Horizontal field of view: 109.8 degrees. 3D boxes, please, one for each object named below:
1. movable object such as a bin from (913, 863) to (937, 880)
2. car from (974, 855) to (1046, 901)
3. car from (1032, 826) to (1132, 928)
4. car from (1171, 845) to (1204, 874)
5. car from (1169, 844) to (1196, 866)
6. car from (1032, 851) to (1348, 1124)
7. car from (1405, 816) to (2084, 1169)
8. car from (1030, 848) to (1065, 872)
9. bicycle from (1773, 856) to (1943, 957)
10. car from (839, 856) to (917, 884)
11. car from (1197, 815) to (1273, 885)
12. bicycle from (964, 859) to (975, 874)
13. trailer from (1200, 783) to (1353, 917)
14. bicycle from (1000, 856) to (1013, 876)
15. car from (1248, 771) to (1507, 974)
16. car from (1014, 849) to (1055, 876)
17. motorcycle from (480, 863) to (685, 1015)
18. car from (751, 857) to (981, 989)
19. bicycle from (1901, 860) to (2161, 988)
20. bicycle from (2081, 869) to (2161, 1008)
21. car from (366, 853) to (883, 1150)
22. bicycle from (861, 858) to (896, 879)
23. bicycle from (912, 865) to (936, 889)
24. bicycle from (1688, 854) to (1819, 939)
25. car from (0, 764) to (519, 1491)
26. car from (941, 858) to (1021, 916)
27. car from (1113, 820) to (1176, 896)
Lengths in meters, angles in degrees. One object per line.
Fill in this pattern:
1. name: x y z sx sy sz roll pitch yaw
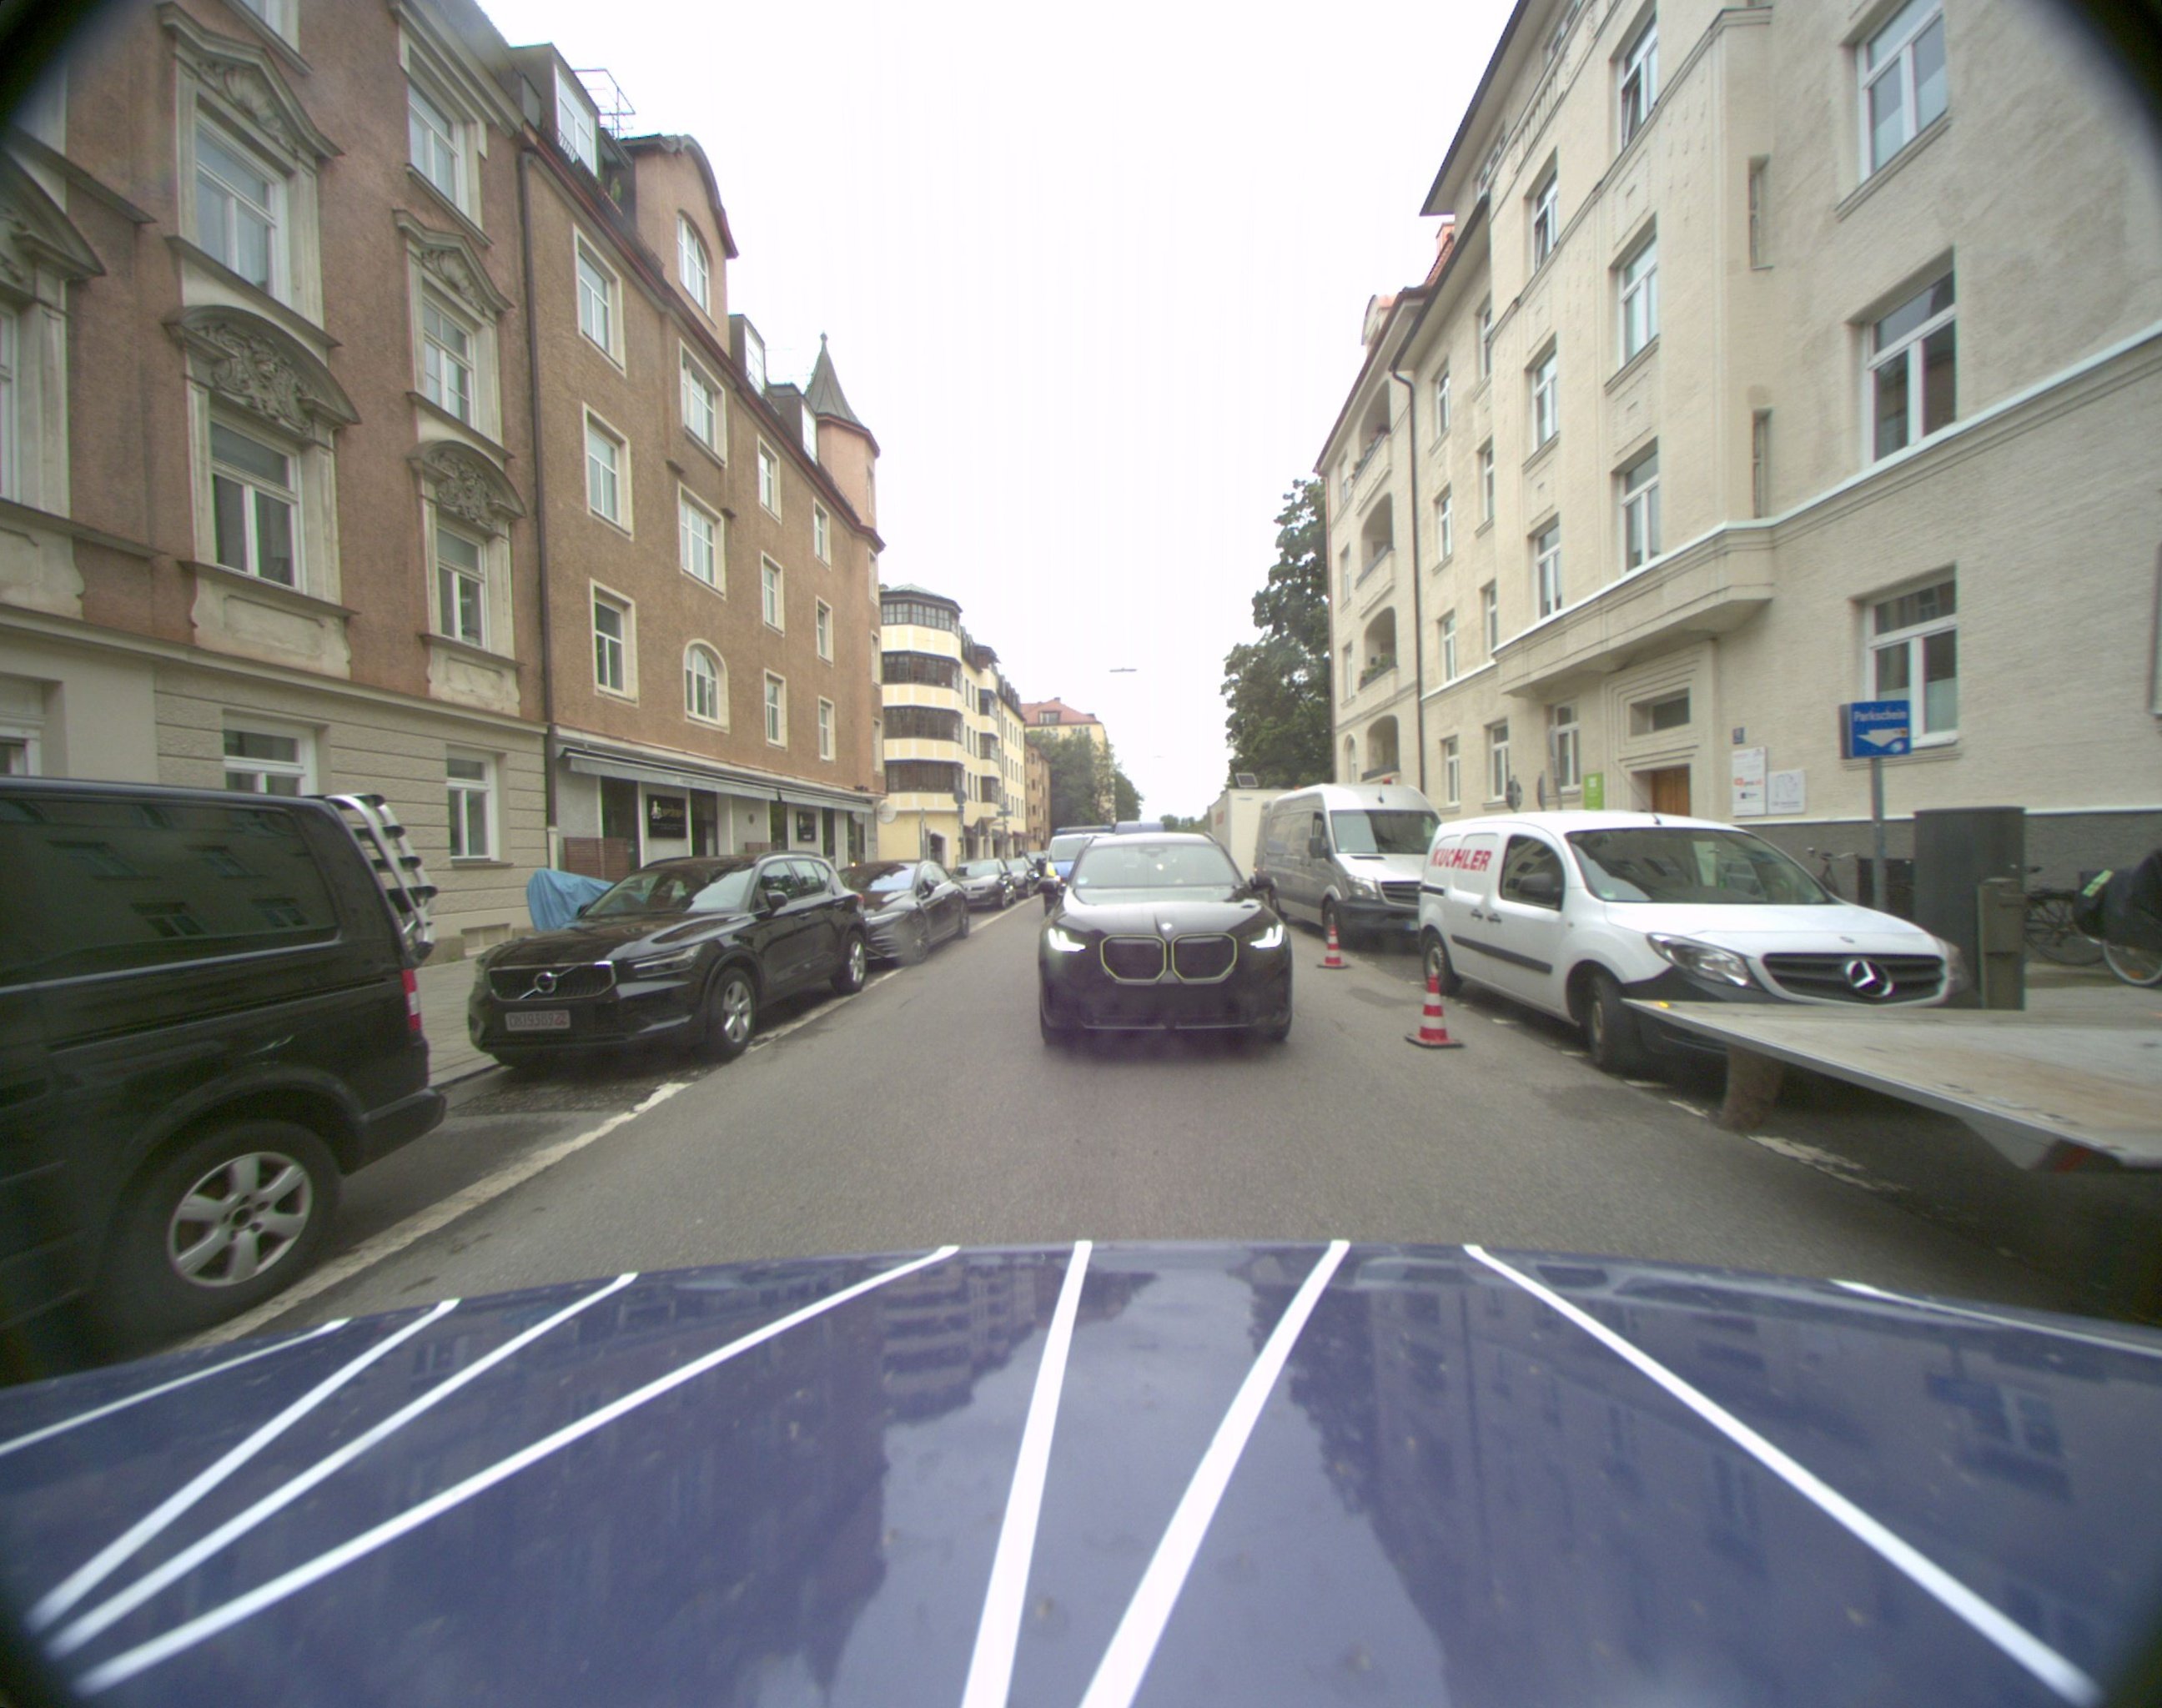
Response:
1. movable object such as a bin: -8.851 0.997 43.144 1.125 0.895 0.684 -1 1 4
2. car: -2.441 0.809 27.495 1.851 1.397 4.788 -2 1 3
3. car: 0.197 0.467 18.967 1.826 2.087 5.635 -3 0 6
4. car: 6.576 0.302 47.181 1.817 1.580 4.165 3 2 5
5. car: 7.576 0.054 56.606 1.816 1.455 4.166 3 2 9
6. car: 0.647 0.811 6.799 1.921 1.557 4.292 -1 1 -1
7. car: 4.241 0.664 6.001 1.767 1.768 4.327 0 1 4
8. car: -2.432 0.417 56.129 1.817 1.580 4.165 3 2 7
9. bicycle: 9.662 0.604 9.539 0.429 1.098 1.736 -2 1 3
10. car: -11.079 0.871 41.539 3.741 1.431 1.753 -1 -2 7
11. car: 6.261 -0.186 31.778 2.146 2.557 6.795 -2 1 4
12. bicycle: -7.214 0.822 49.235 0.262 0.897 1.695 3 2 6
13. trailer: 4.989 -0.107 20.893 2.809 2.952 7.602 1 0 5
14. bicycle: -4.577 0.756 46.952 0.430 1.152 2.053 0 1 5
15. car: 4.634 0.205 13.405 2.060 2.572 6.877 2 1 3
16. car: -3.071 0.537 50.919 2.111 1.613 4.497 -2 1 4
17. motorcycle: -5.665 0.895 8.835 0.873 1.496 1.997 -2 1 5
18. car: -3.122 0.893 12.509 1.935 1.544 5.637 -2 0 2
19. bicycle: 9.588 0.644 7.791 0.402 1.098 1.864 -2 1 2
20. bicycle: 9.037 0.700 5.730 0.402 1.098 1.863 -2 1 -7
21. car: -3.440 0.935 6.950 1.697 1.667 4.408 -5 1 4
22. bicycle: -11.983 0.847 44.994 1.904 1.180 0.515 -1 1 4
23. bicycle: -6.783 0.992 32.914 0.496 0.999 1.804 0 0 6
24. bicycle: 9.725 0.576 11.074 0.429 1.098 1.743 -2 1 3
25. car: -3.988 0.822 1.128 2.087 1.910 5.139 -3 3 4
26. car: -2.783 0.887 21.966 1.576 1.386 4.182 -1 1 2
27. car: 2.337 0.068 28.564 2.005 2.477 6.233 -2 2 4
